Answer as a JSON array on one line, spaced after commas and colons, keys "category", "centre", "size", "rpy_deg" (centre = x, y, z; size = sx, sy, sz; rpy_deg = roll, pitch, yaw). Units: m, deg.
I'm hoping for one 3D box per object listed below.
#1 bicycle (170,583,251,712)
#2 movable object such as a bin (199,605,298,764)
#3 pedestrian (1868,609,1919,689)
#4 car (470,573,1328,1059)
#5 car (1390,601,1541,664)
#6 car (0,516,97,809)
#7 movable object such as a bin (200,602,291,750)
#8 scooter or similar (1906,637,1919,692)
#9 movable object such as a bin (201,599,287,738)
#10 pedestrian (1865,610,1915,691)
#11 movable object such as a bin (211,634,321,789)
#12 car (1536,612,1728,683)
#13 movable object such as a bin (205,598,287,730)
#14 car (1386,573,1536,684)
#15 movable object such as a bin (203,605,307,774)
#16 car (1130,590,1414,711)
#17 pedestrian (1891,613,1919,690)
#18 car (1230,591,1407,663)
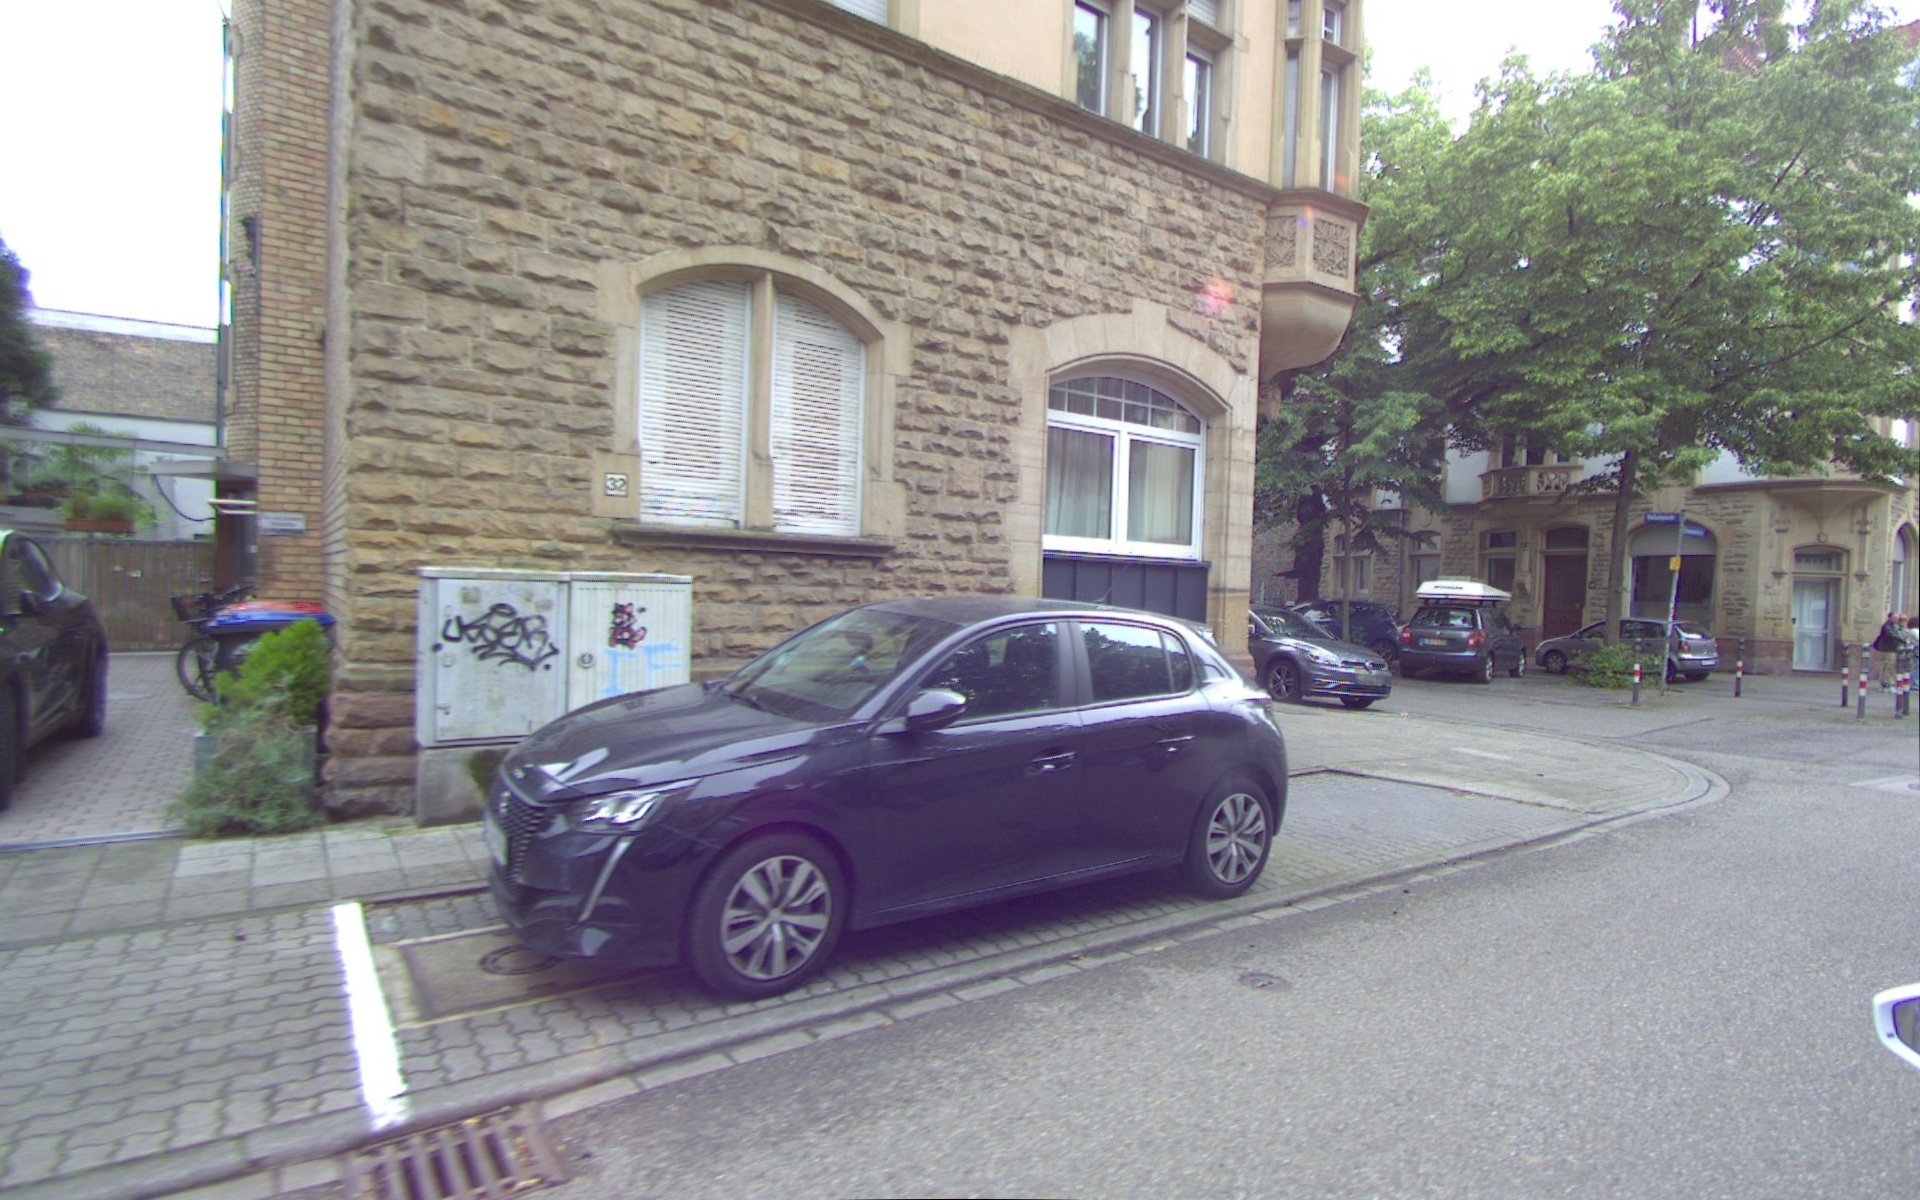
[{"category": "bicycle", "centre": [-7.541, 0.410, 10.151], "size": [0.570, 1.106, 2.626], "rpy_deg": [1, 1, -36]}, {"category": "movable object such as a bin", "centre": [-5.095, 0.584, 7.212], "size": [0.546, 1.077, 0.436], "rpy_deg": [1, 1, -35]}, {"category": "pedestrian", "centre": [20.126, 1.052, 21.620], "size": [0.595, 1.665, 0.615], "rpy_deg": [1, 2, -23]}, {"category": "car", "centre": [-0.138, 0.677, 4.910], "size": [3.843, 1.453, 1.716], "rpy_deg": [1, 3, -35]}, {"category": "car", "centre": [14.241, 0.883, 28.470], "size": [1.628, 1.480, 3.478], "rpy_deg": [3, 1, -26]}, {"category": "car", "centre": [-6.629, 0.287, 6.013], "size": [1.750, 1.585, 3.961], "rpy_deg": [1, 1, -34]}, {"category": "movable object such as a bin", "centre": [-5.487, 0.564, 7.733], "size": [0.546, 1.077, 0.436], "rpy_deg": [1, 1, -35]}, {"category": "scooter or similar", "centre": [20.386, 1.379, 20.421], "size": [0.666, 1.119, 1.465], "rpy_deg": [2, 3, -23]}, {"category": "movable object such as a bin", "centre": [-5.834, 0.542, 8.204], "size": [0.546, 1.077, 0.436], "rpy_deg": [1, 1, -35]}, {"category": "pedestrian", "centre": [19.670, 1.069, 21.247], "size": [0.521, 1.665, 0.526], "rpy_deg": [2, 2, -23]}, {"category": "movable object such as a bin", "centre": [-4.416, 0.688, 6.409], "size": [0.546, 0.916, 0.412], "rpy_deg": [1, 1, -35]}, {"category": "car", "centre": [16.111, 1.071, 24.265], "size": [1.627, 1.480, 3.557], "rpy_deg": [-1, 1, -26]}, {"category": "movable object such as a bin", "centre": [-6.113, 0.536, 8.618], "size": [0.546, 1.077, 0.436], "rpy_deg": [1, 1, -35]}, {"category": "car", "centre": [10.248, 0.534, 20.399], "size": [1.806, 1.994, 3.943], "rpy_deg": [2, 1, 40]}, {"category": "movable object such as a bin", "centre": [-4.758, 0.584, 6.800], "size": [0.546, 1.077, 0.436], "rpy_deg": [1, 1, -35]}, {"category": "car", "centre": [4.674, 0.704, 15.716], "size": [1.643, 1.485, 4.254], "rpy_deg": [5, -1, -28]}, {"category": "pedestrian", "centre": [20.888, 1.122, 21.828], "size": [0.656, 1.615, 0.632], "rpy_deg": [2, 2, 6]}, {"category": "car", "centre": [8.388, 0.611, 23.719], "size": [3.541, 1.536, 1.654], "rpy_deg": [2, 1, 0]}]
